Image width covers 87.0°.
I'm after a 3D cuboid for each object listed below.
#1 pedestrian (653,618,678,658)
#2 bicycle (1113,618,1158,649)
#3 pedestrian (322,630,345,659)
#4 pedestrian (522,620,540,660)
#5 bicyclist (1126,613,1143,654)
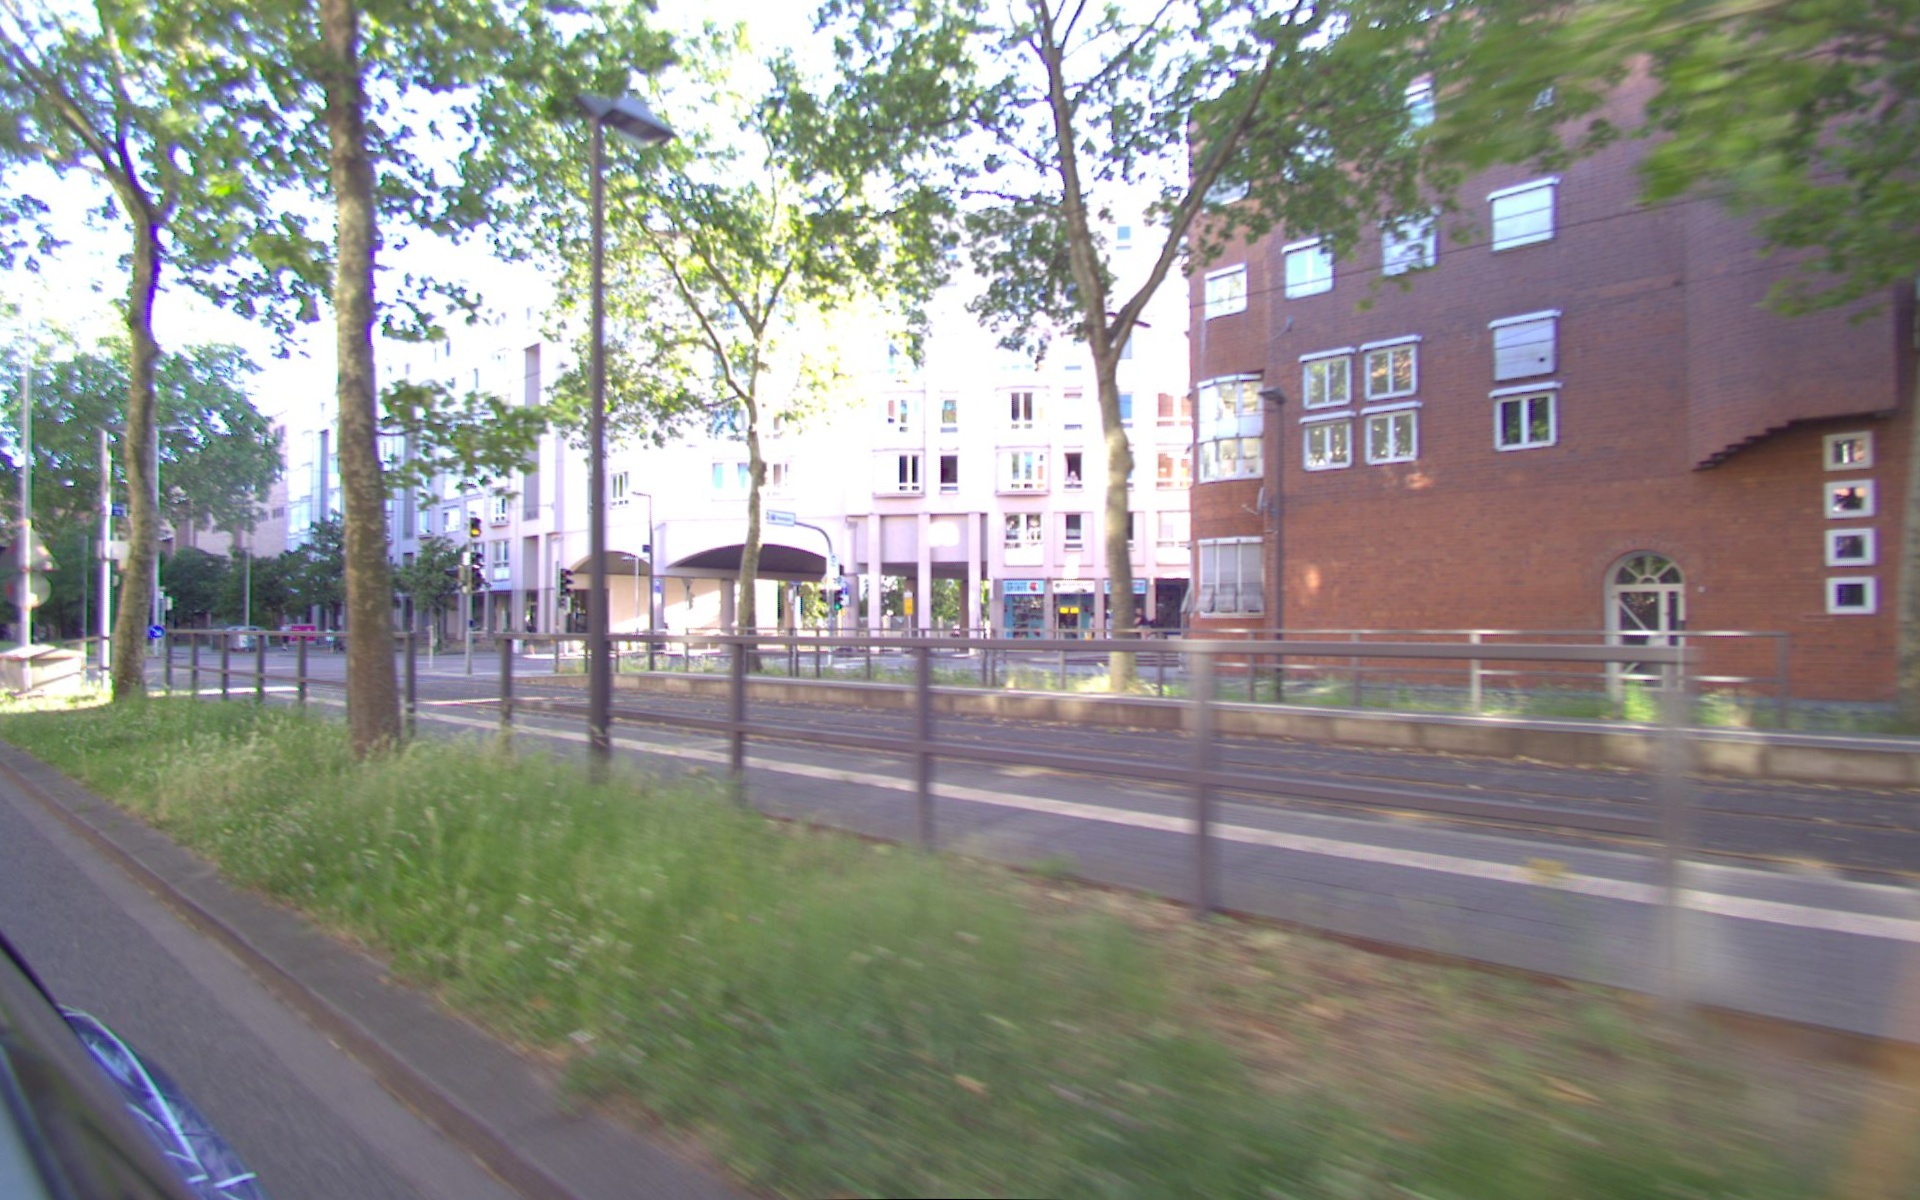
[{"bbox_3d":[-15.345,1.966,52.786,0.863,2.029,1.008,-1,0,-42],"label":"pedestrian"},{"bbox_3d":[7.252,1.389,41.873,1.799,1.271,0.771,-1,0,11],"label":"bicycle"},{"bbox_3d":[-36.192,2.540,58.451,0.992,1.613,0.877,-1,0,-44],"label":"pedestrian"},{"bbox_3d":[-22.515,2.073,53.121,0.861,2.029,1.010,-1,0,-22],"label":"pedestrian"},{"bbox_3d":[7.209,1.376,41.877,0.661,1.661,0.716,-1,0,11],"label":"bicyclist"}]
